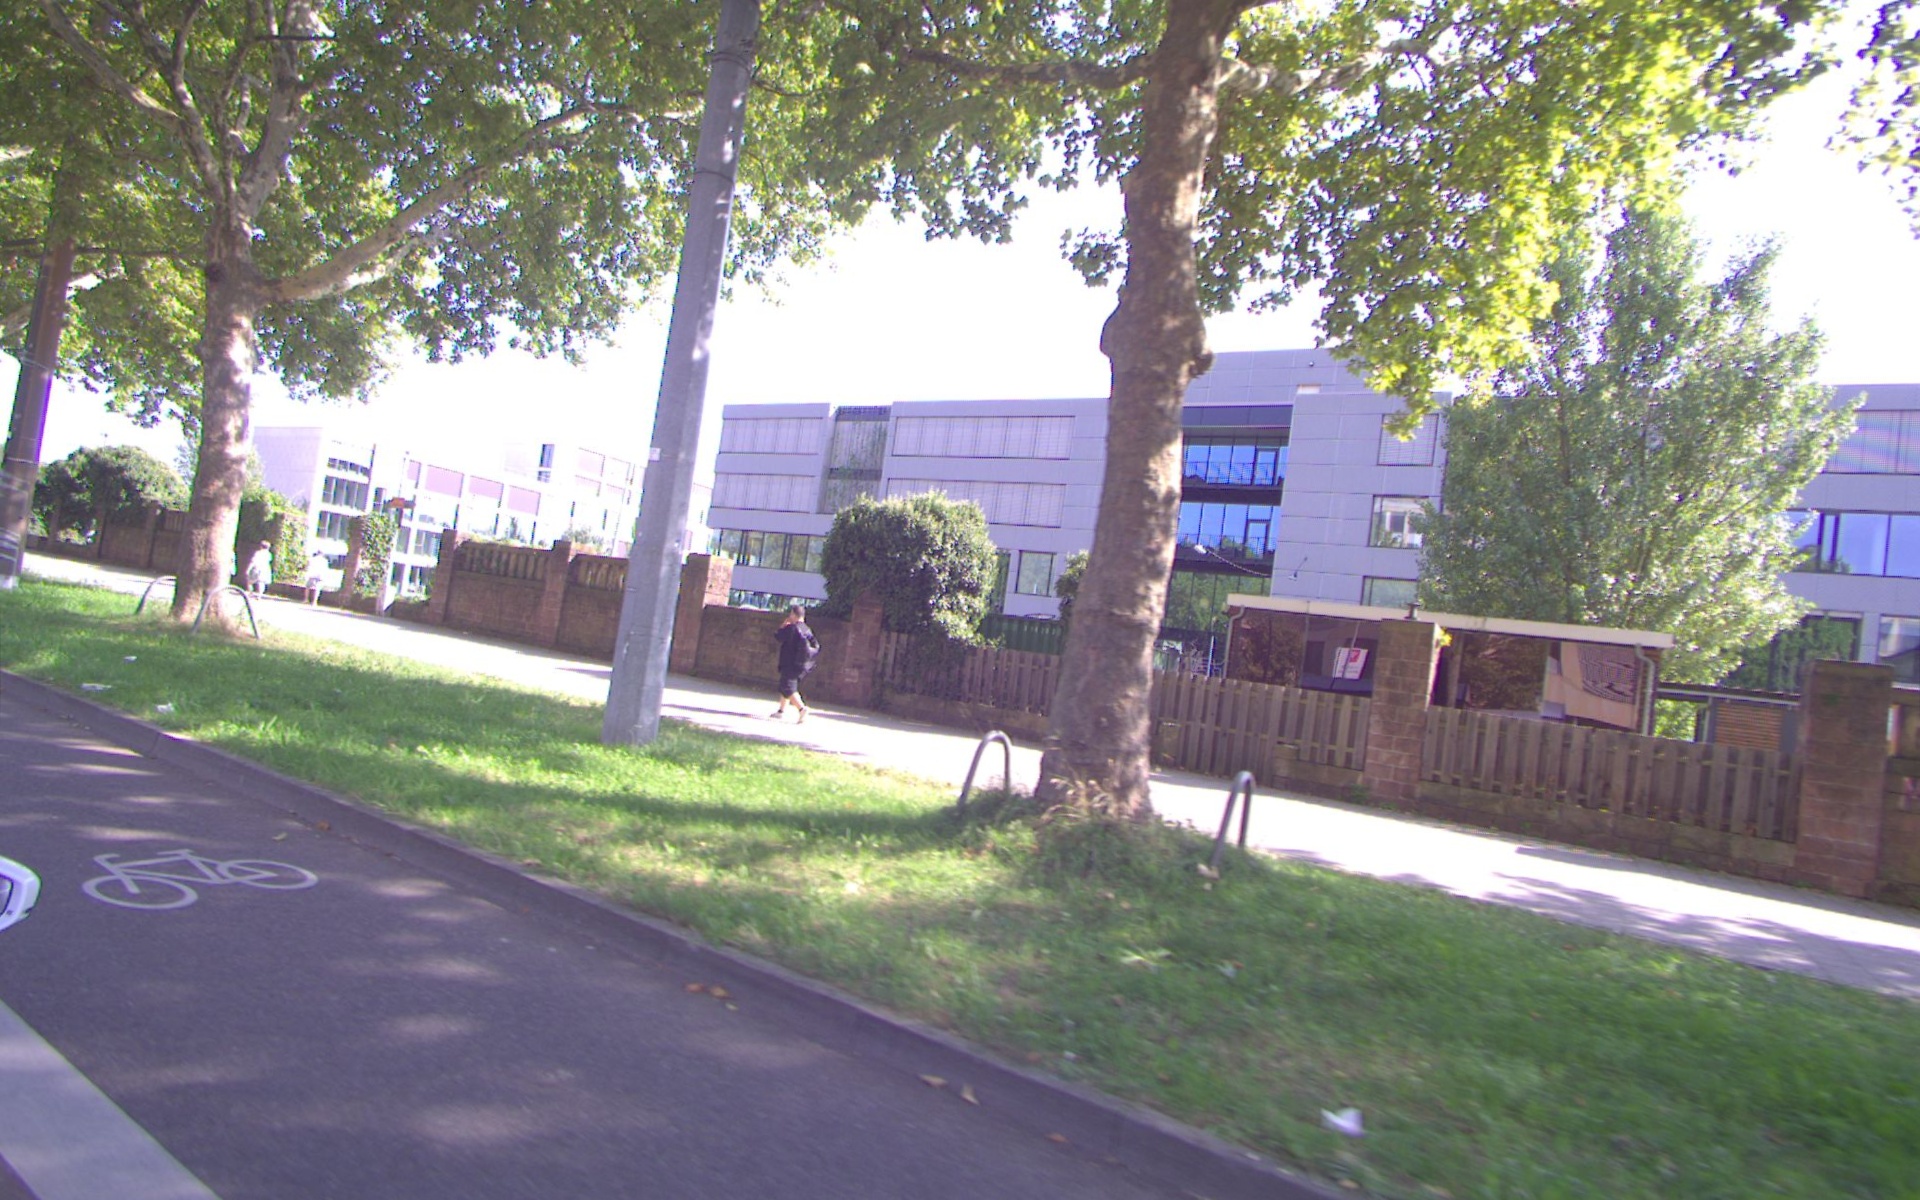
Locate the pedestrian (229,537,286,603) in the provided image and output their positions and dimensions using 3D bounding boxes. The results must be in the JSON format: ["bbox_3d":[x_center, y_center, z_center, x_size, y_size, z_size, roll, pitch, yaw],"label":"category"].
[{"bbox_3d":[-18.807,-0.802,26.925,0.932,1.623,0.807,6,-1,32],"label":"pedestrian"}]

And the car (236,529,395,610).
[{"bbox_3d":[-25.434,-1.145,39.896,2.022,2.342,4.676,6,-5,32],"label":"car"}]

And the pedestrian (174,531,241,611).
[{"bbox_3d":[-17.196,-0.661,22.994,0.932,1.655,0.807,6,-1,32],"label":"pedestrian"}]

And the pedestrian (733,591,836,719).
[{"bbox_3d":[-2.548,0.803,14.635,0.995,1.705,0.820,7,-2,32],"label":"pedestrian"}]

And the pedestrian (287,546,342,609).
[{"bbox_3d":[-17.929,-0.623,27.944,0.932,1.623,0.807,6,-1,32],"label":"pedestrian"}]

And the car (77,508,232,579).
[{"bbox_3d":[-37.894,-2.608,47.484,2.097,2.394,5.139,6,-3,35],"label":"car"}]
